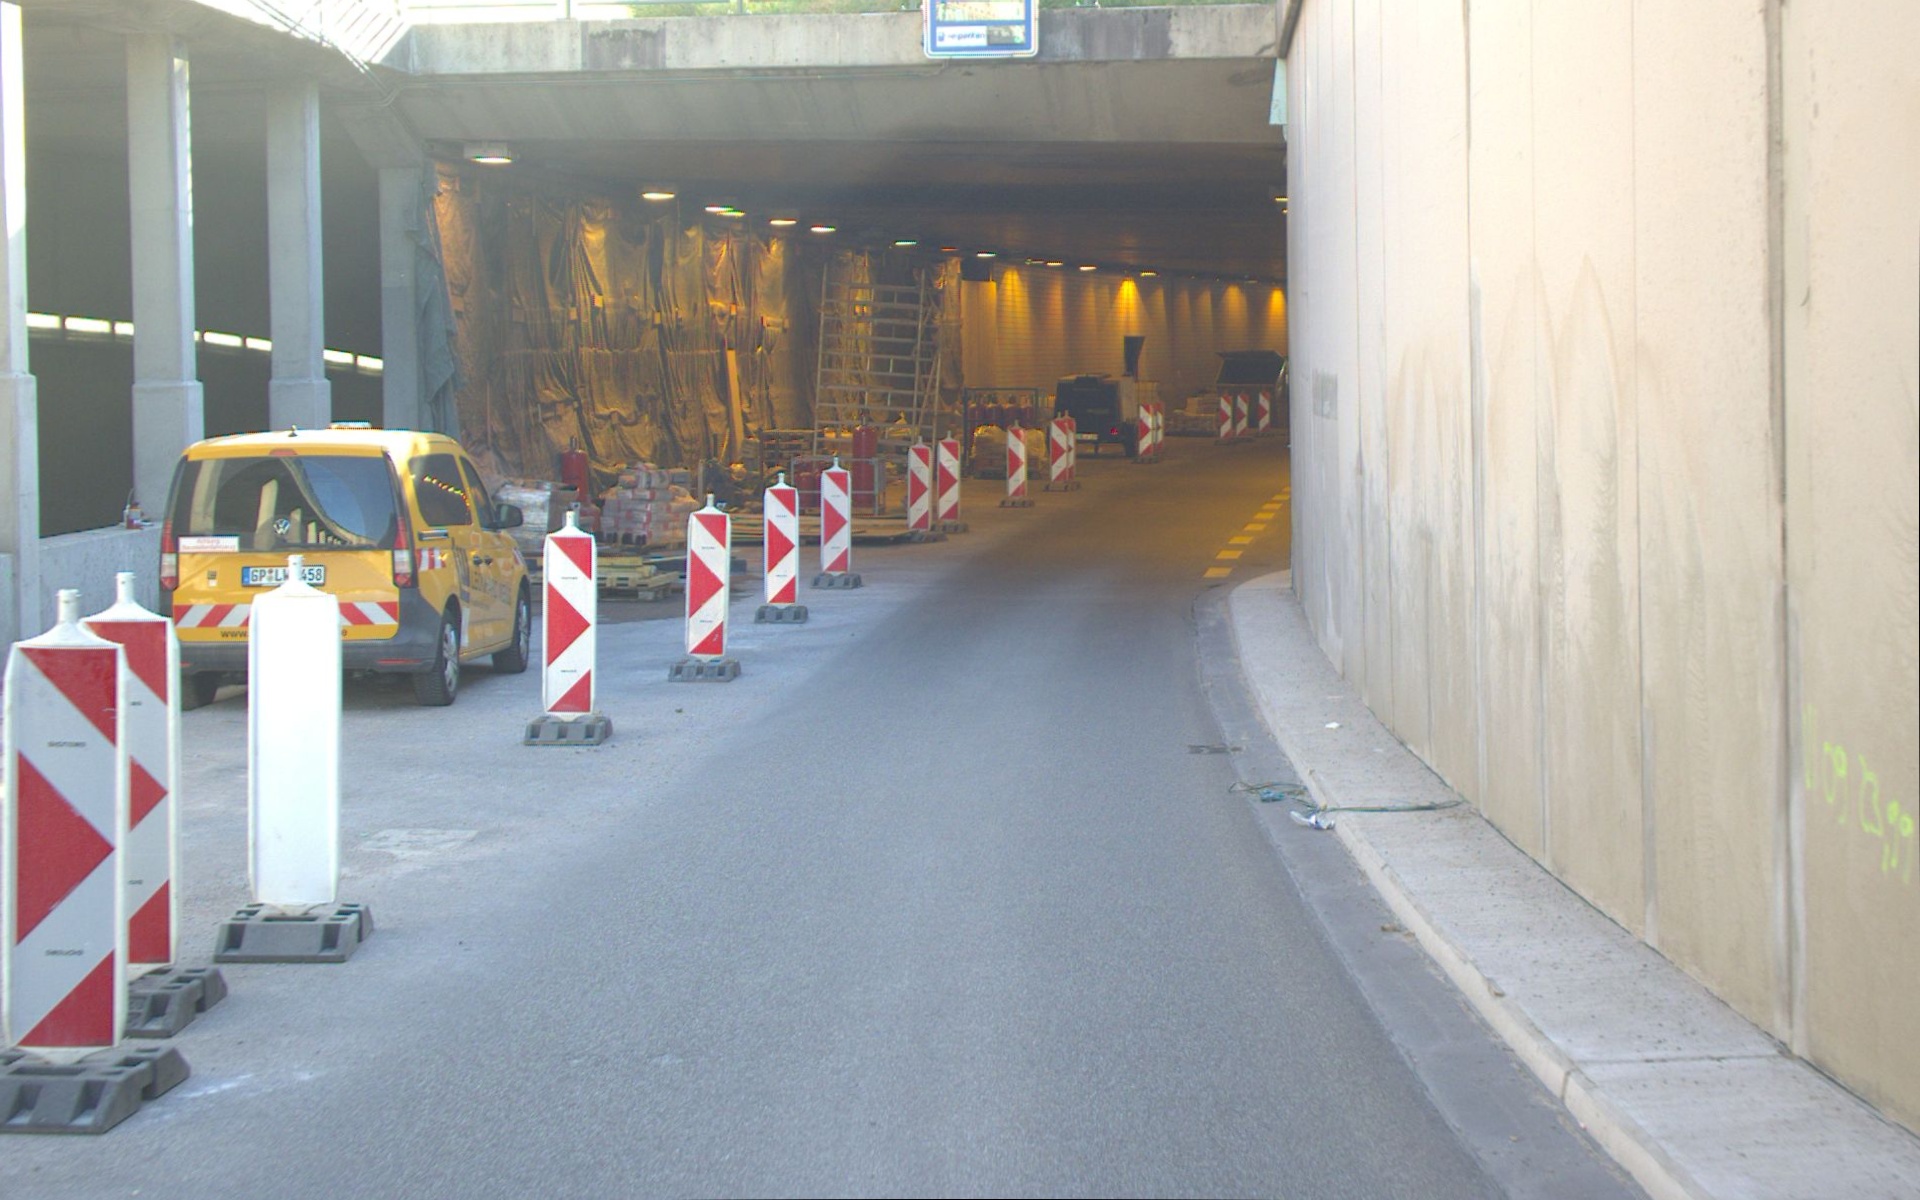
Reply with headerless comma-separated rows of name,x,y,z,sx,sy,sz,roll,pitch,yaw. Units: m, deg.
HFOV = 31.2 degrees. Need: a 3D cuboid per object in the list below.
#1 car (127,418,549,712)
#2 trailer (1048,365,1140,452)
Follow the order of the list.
car,-4.095,-0.329,23.390,1.848,1.769,4.435,0,4,3
trailer,2.883,-4.119,73.647,1.581,1.791,2.939,1,4,10
